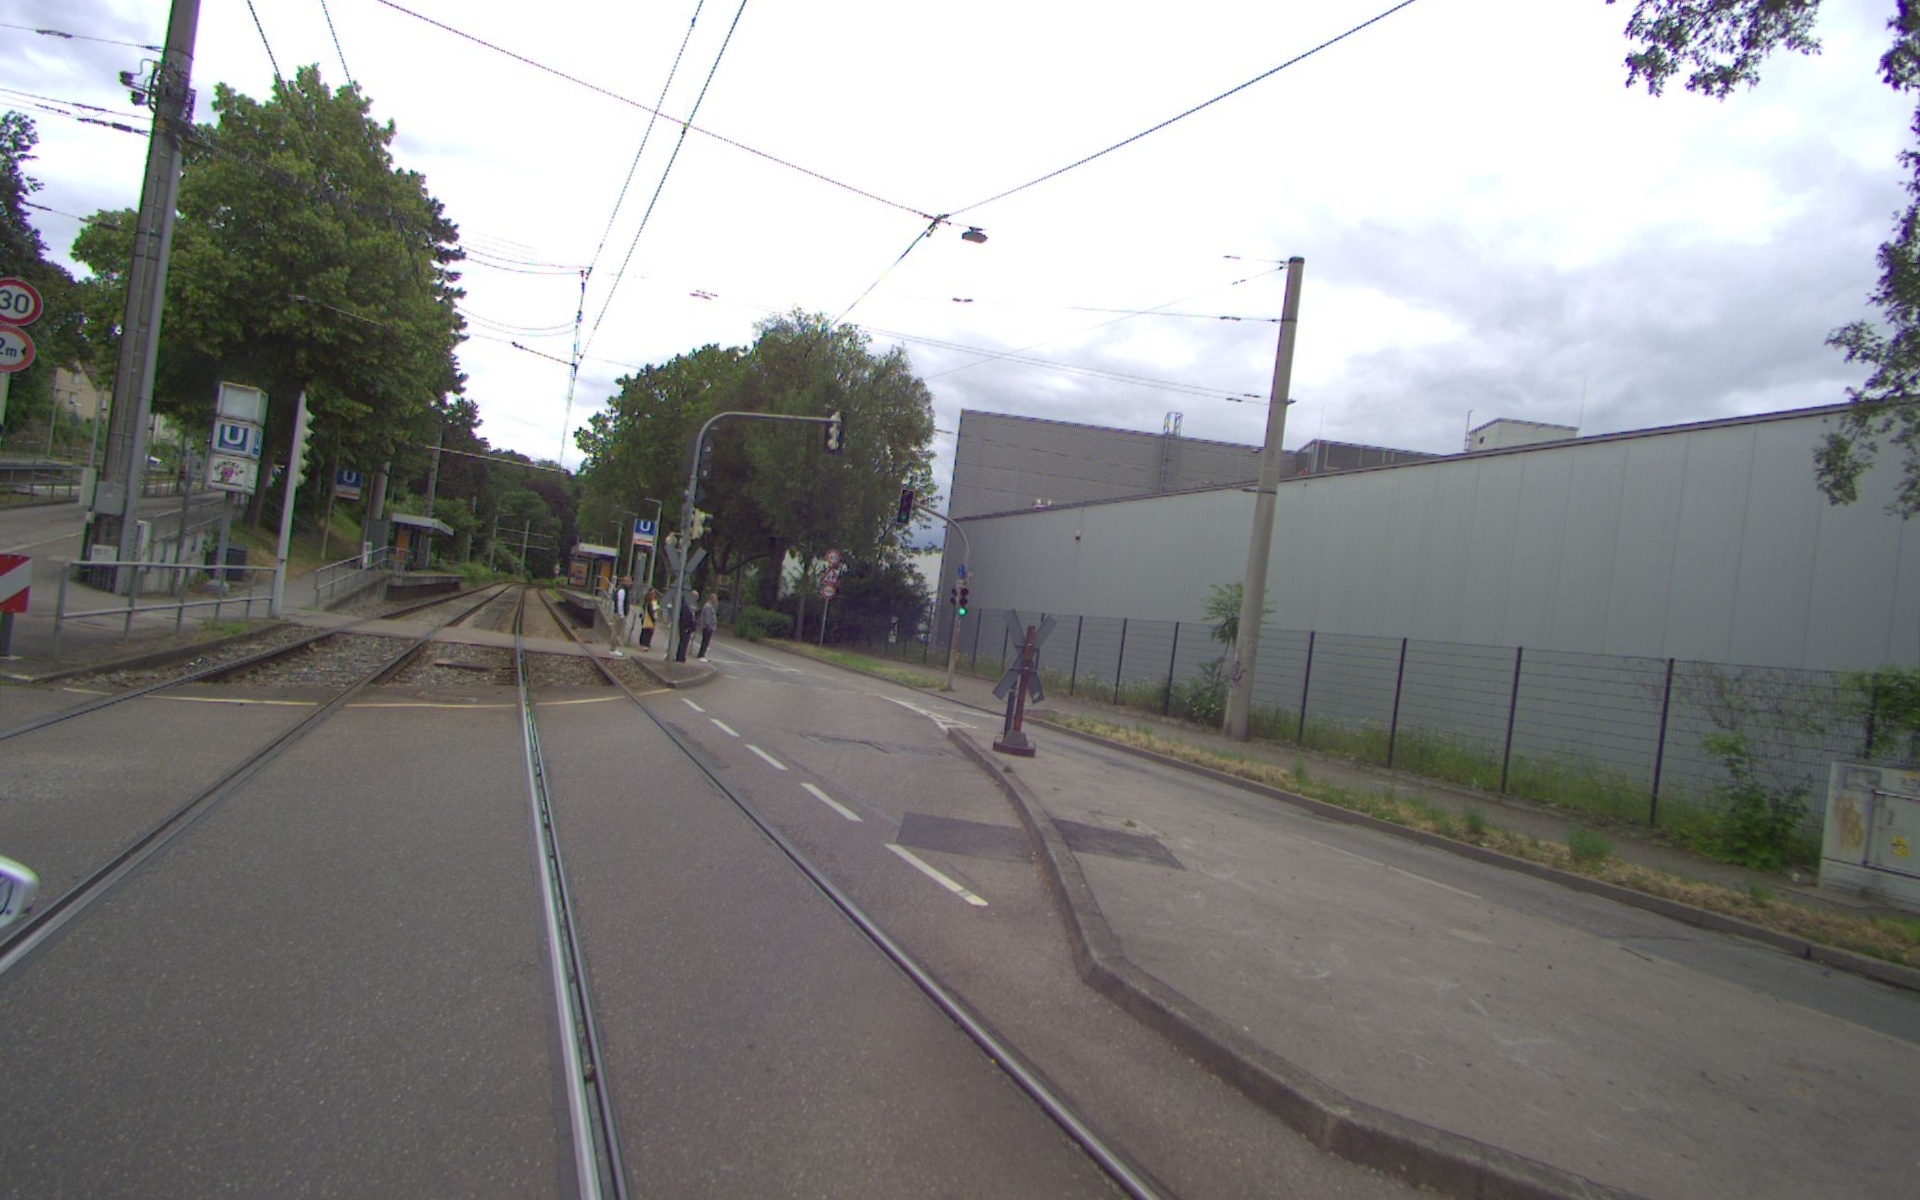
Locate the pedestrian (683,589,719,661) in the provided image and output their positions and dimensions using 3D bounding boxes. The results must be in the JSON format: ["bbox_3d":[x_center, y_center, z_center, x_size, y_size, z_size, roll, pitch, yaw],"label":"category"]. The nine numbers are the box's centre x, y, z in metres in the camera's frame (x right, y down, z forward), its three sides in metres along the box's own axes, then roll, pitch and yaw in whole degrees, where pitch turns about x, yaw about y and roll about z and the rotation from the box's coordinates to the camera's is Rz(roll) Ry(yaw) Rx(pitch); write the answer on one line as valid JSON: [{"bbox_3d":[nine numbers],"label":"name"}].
[{"bbox_3d":[-6.798,0.653,26.422,0.544,1.777,0.735,11,-2,-19],"label":"pedestrian"}]

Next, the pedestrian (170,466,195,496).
[{"bbox_3d":[-40.867,-6.253,52.911,0.738,1.425,0.740,12,1,-32],"label":"pedestrian"}]

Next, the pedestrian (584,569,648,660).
[{"bbox_3d":[-7.611,0.331,22.294,0.659,1.840,0.805,9,-3,32],"label":"pedestrian"}]

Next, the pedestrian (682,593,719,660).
[{"bbox_3d":[-7.020,0.715,27.201,0.672,1.682,0.735,11,-2,-16],"label":"pedestrian"}]

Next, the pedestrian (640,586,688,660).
[{"bbox_3d":[-7.286,0.563,24.733,0.676,1.682,0.731,12,-3,-32],"label":"pedestrian"}]

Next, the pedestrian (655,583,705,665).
[{"bbox_3d":[-6.256,0.534,22.453,0.729,1.682,0.678,11,-3,-22],"label":"pedestrian"}]

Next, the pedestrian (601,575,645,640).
[{"bbox_3d":[-9.454,0.210,28.235,0.732,1.682,0.675,12,-3,-34],"label":"pedestrian"}]
